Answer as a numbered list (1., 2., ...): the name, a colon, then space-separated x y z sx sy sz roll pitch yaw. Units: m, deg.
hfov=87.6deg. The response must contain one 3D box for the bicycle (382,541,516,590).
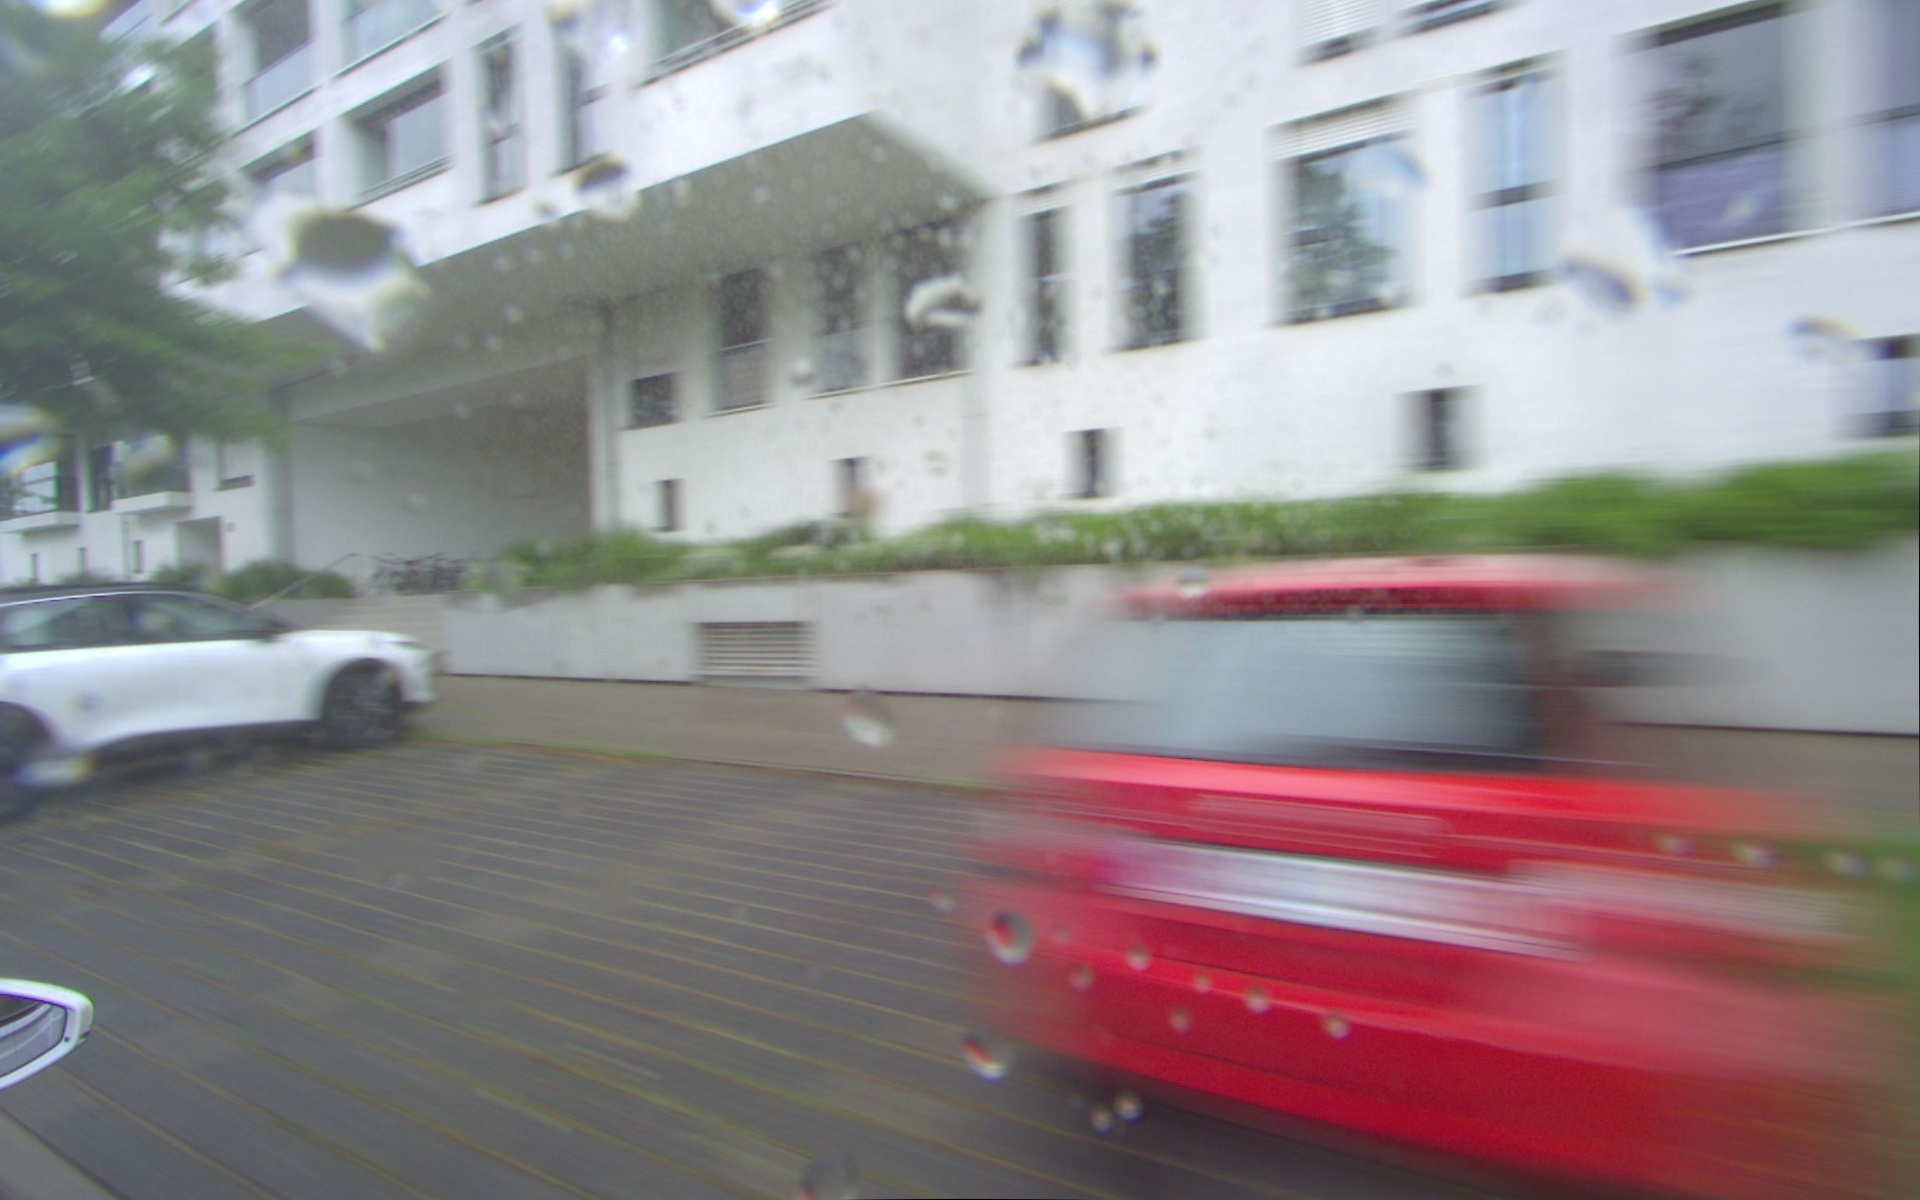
1. bicycle: -13.031 -0.850 25.609 2.935 1.133 0.907 0 -1 -43

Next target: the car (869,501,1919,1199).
1. car: 1.604 0.543 3.574 1.795 1.471 3.978 -2 1 31

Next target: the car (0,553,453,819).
1. car: -7.096 0.614 8.589 1.857 1.709 4.528 -1 5 29
